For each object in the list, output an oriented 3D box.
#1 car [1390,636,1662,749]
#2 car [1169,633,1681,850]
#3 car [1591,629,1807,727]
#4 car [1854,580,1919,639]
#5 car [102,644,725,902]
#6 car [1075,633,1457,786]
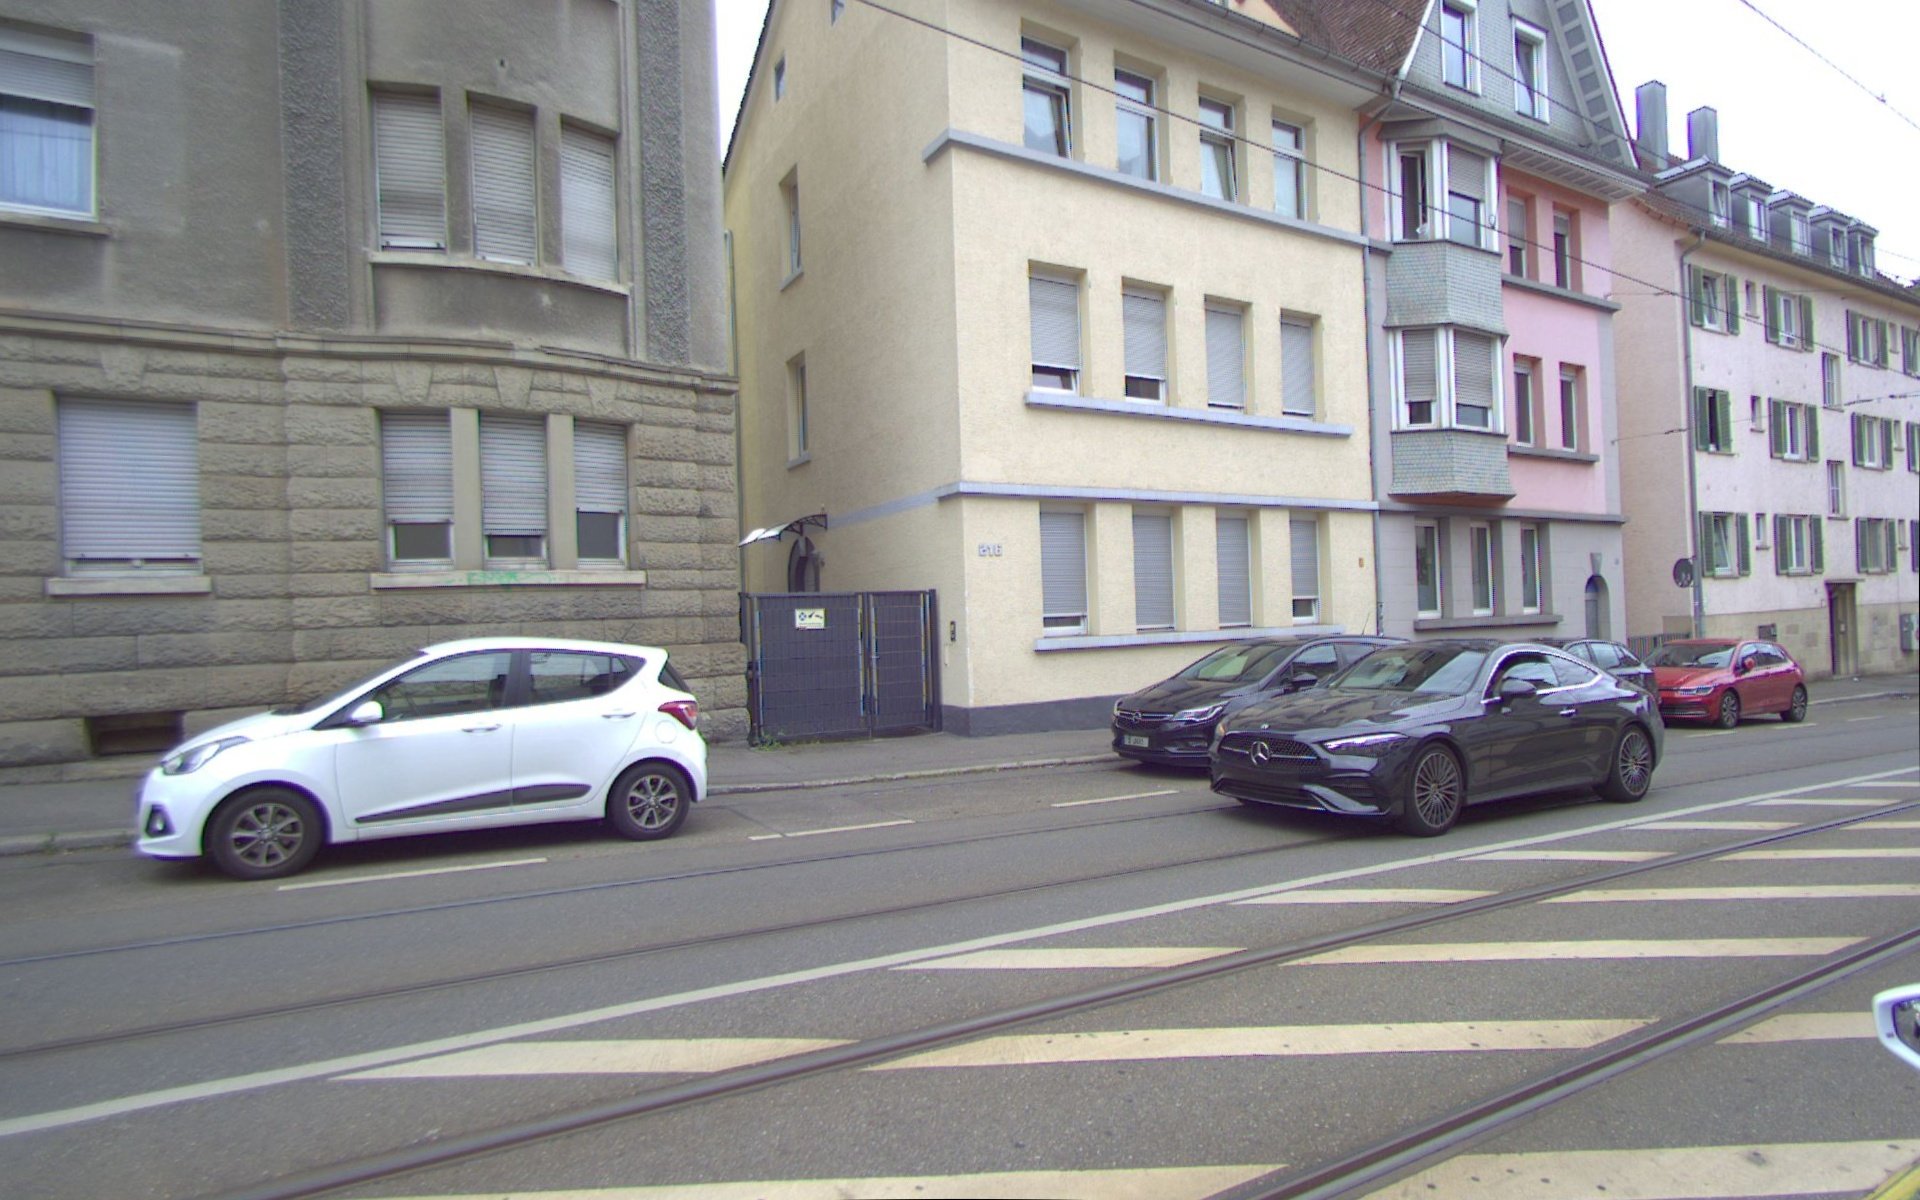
[{"bbox_3d":[8.304,1.254,14.684,3.953,1.428,1.728,1,-2,-30],"label":"car"},{"bbox_3d":[4.138,1.019,8.767,4.446,1.443,1.911,1,-2,-31],"label":"car"},{"bbox_3d":[12.739,1.285,17.274,4.002,1.510,1.612,2,-3,-32],"label":"car"},{"bbox_3d":[44.052,0.464,45.220,1.970,2.263,5.297,16,-2,-9],"label":"car"},{"bbox_3d":[-3.758,1.074,7.427,3.641,1.482,1.613,2,-3,-30],"label":"car"},{"bbox_3d":[3.616,1.154,11.629,4.502,1.493,1.613,2,-3,-30],"label":"car"}]
